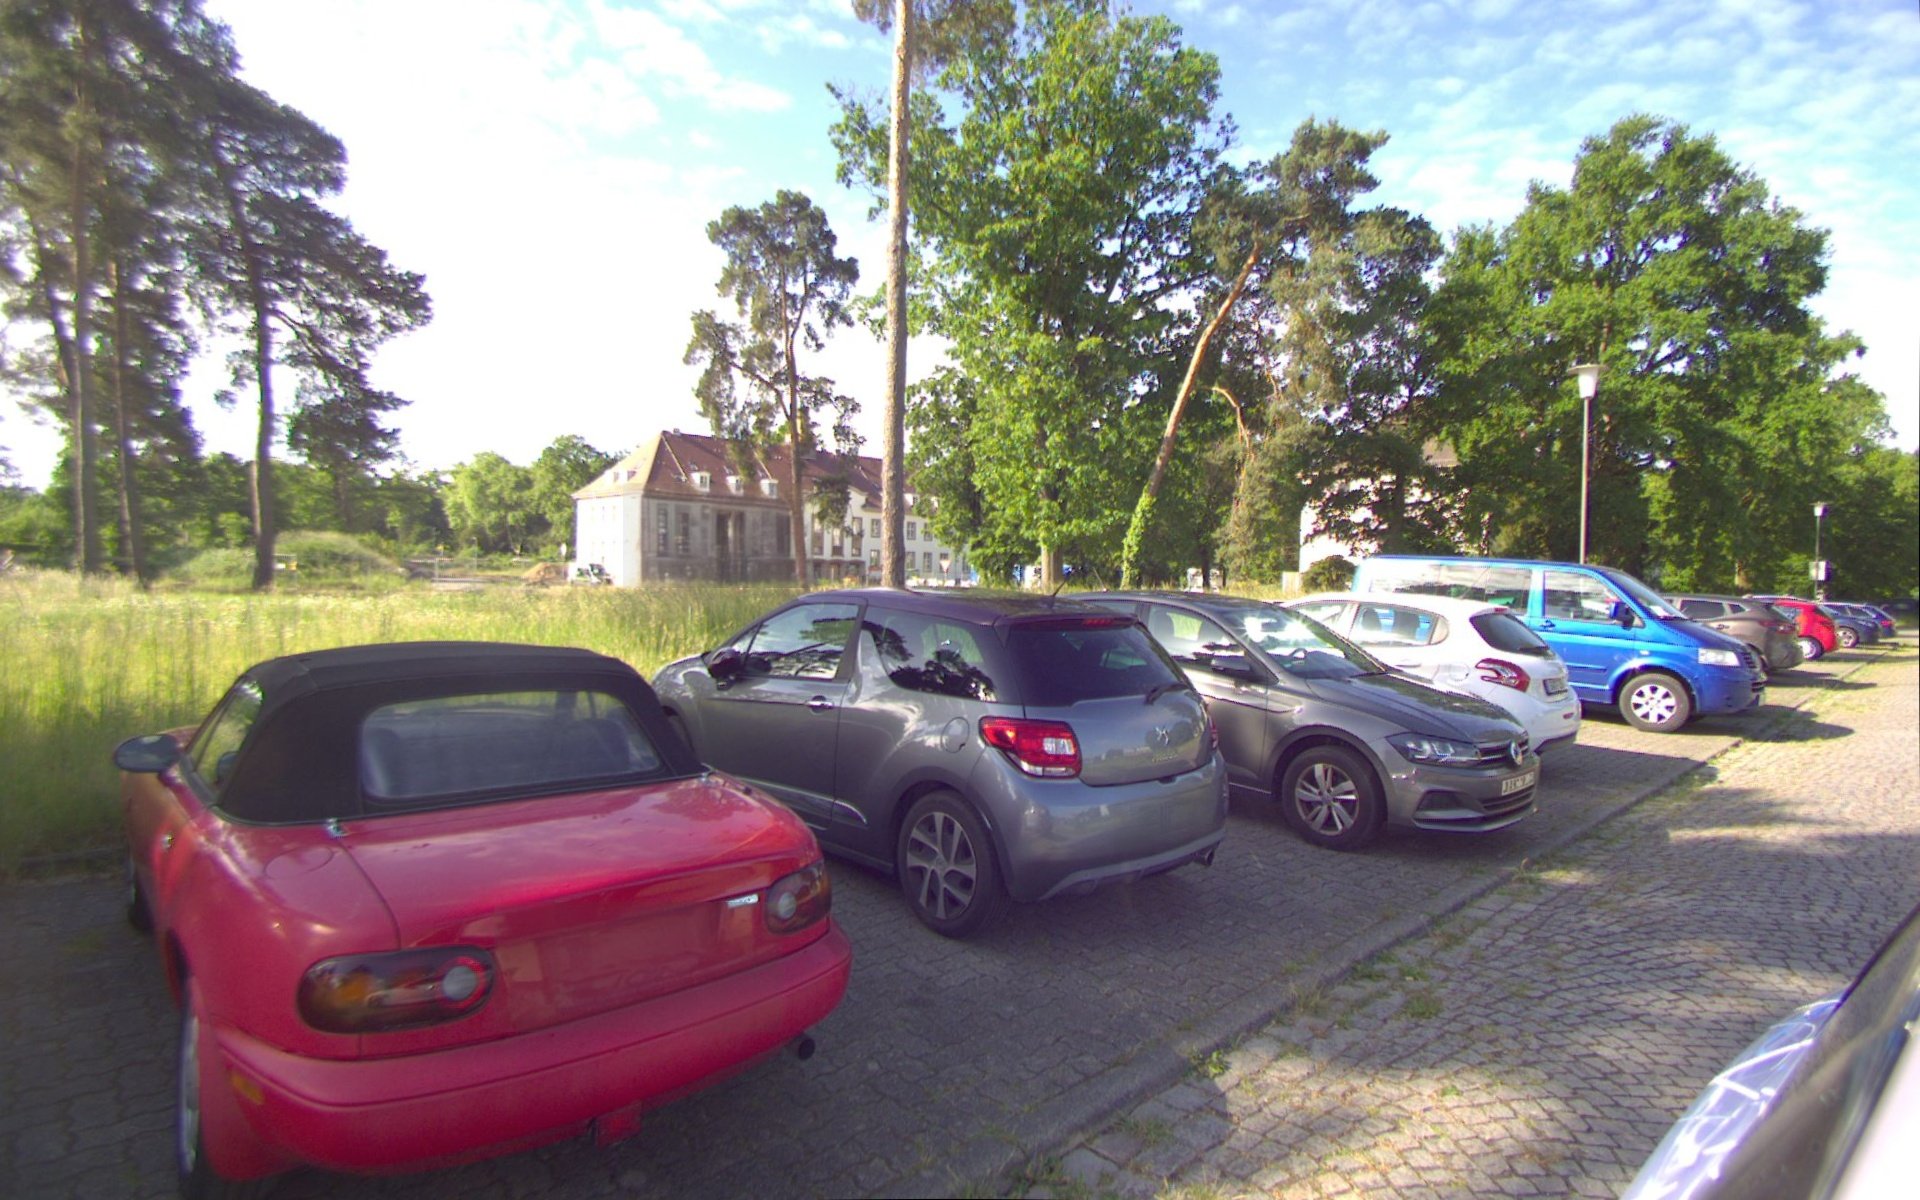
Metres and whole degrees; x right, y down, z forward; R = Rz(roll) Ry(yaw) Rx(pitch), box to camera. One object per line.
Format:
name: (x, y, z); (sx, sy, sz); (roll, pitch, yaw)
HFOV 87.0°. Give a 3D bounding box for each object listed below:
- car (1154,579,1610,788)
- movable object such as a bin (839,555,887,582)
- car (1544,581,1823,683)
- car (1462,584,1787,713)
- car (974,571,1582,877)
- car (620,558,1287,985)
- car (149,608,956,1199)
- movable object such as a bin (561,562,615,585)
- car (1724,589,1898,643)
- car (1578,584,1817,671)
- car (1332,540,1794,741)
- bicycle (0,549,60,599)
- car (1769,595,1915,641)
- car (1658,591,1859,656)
car: (3.825, 0.605, 9.597); (1.607, 1.510, 3.649); (0, 2, -43)
movable object such as a bin: (-10.974, -3.569, 114.401); (4.979, 2.937, 2.180); (0, 2, -37)
car: (13.755, 0.525, 19.409); (4.109, 1.631, 1.757); (3, 2, 45)
car: (9.644, 0.604, 14.865); (3.722, 1.484, 1.584); (4, 3, 44)
car: (2.035, 0.610, 7.270); (1.728, 1.468, 3.787); (0, 3, -42)
car: (-0.292, 0.587, 5.666); (1.639, 1.472, 3.668); (0, 4, -44)
car: (-1.746, 0.723, 3.596); (1.511, 1.258, 3.464); (0, 2, -43)
movable object such as a bin: (-35.694, -2.555, 97.162); (5.705, 2.038, 2.095); (3, 2, 37)
car: (28.165, 0.473, 33.594); (1.624, 1.618, 4.266); (0, 1, -44)
car: (15.578, 0.506, 21.497); (1.675, 1.557, 3.830); (0, 3, -43)
car: (7.639, 0.328, 13.229); (1.967, 2.038, 4.761); (0, 4, -43)
bicycle: (-39.320, -1.080, 41.814); (0.950, 2.038, 3.086); (2, 3, 40)
car: (31.747, 0.595, 36.510); (1.717, 1.484, 3.805); (0, 1, -43)
car: (20.877, 0.552, 26.576); (1.515, 1.514, 3.990); (0, 1, -44)
